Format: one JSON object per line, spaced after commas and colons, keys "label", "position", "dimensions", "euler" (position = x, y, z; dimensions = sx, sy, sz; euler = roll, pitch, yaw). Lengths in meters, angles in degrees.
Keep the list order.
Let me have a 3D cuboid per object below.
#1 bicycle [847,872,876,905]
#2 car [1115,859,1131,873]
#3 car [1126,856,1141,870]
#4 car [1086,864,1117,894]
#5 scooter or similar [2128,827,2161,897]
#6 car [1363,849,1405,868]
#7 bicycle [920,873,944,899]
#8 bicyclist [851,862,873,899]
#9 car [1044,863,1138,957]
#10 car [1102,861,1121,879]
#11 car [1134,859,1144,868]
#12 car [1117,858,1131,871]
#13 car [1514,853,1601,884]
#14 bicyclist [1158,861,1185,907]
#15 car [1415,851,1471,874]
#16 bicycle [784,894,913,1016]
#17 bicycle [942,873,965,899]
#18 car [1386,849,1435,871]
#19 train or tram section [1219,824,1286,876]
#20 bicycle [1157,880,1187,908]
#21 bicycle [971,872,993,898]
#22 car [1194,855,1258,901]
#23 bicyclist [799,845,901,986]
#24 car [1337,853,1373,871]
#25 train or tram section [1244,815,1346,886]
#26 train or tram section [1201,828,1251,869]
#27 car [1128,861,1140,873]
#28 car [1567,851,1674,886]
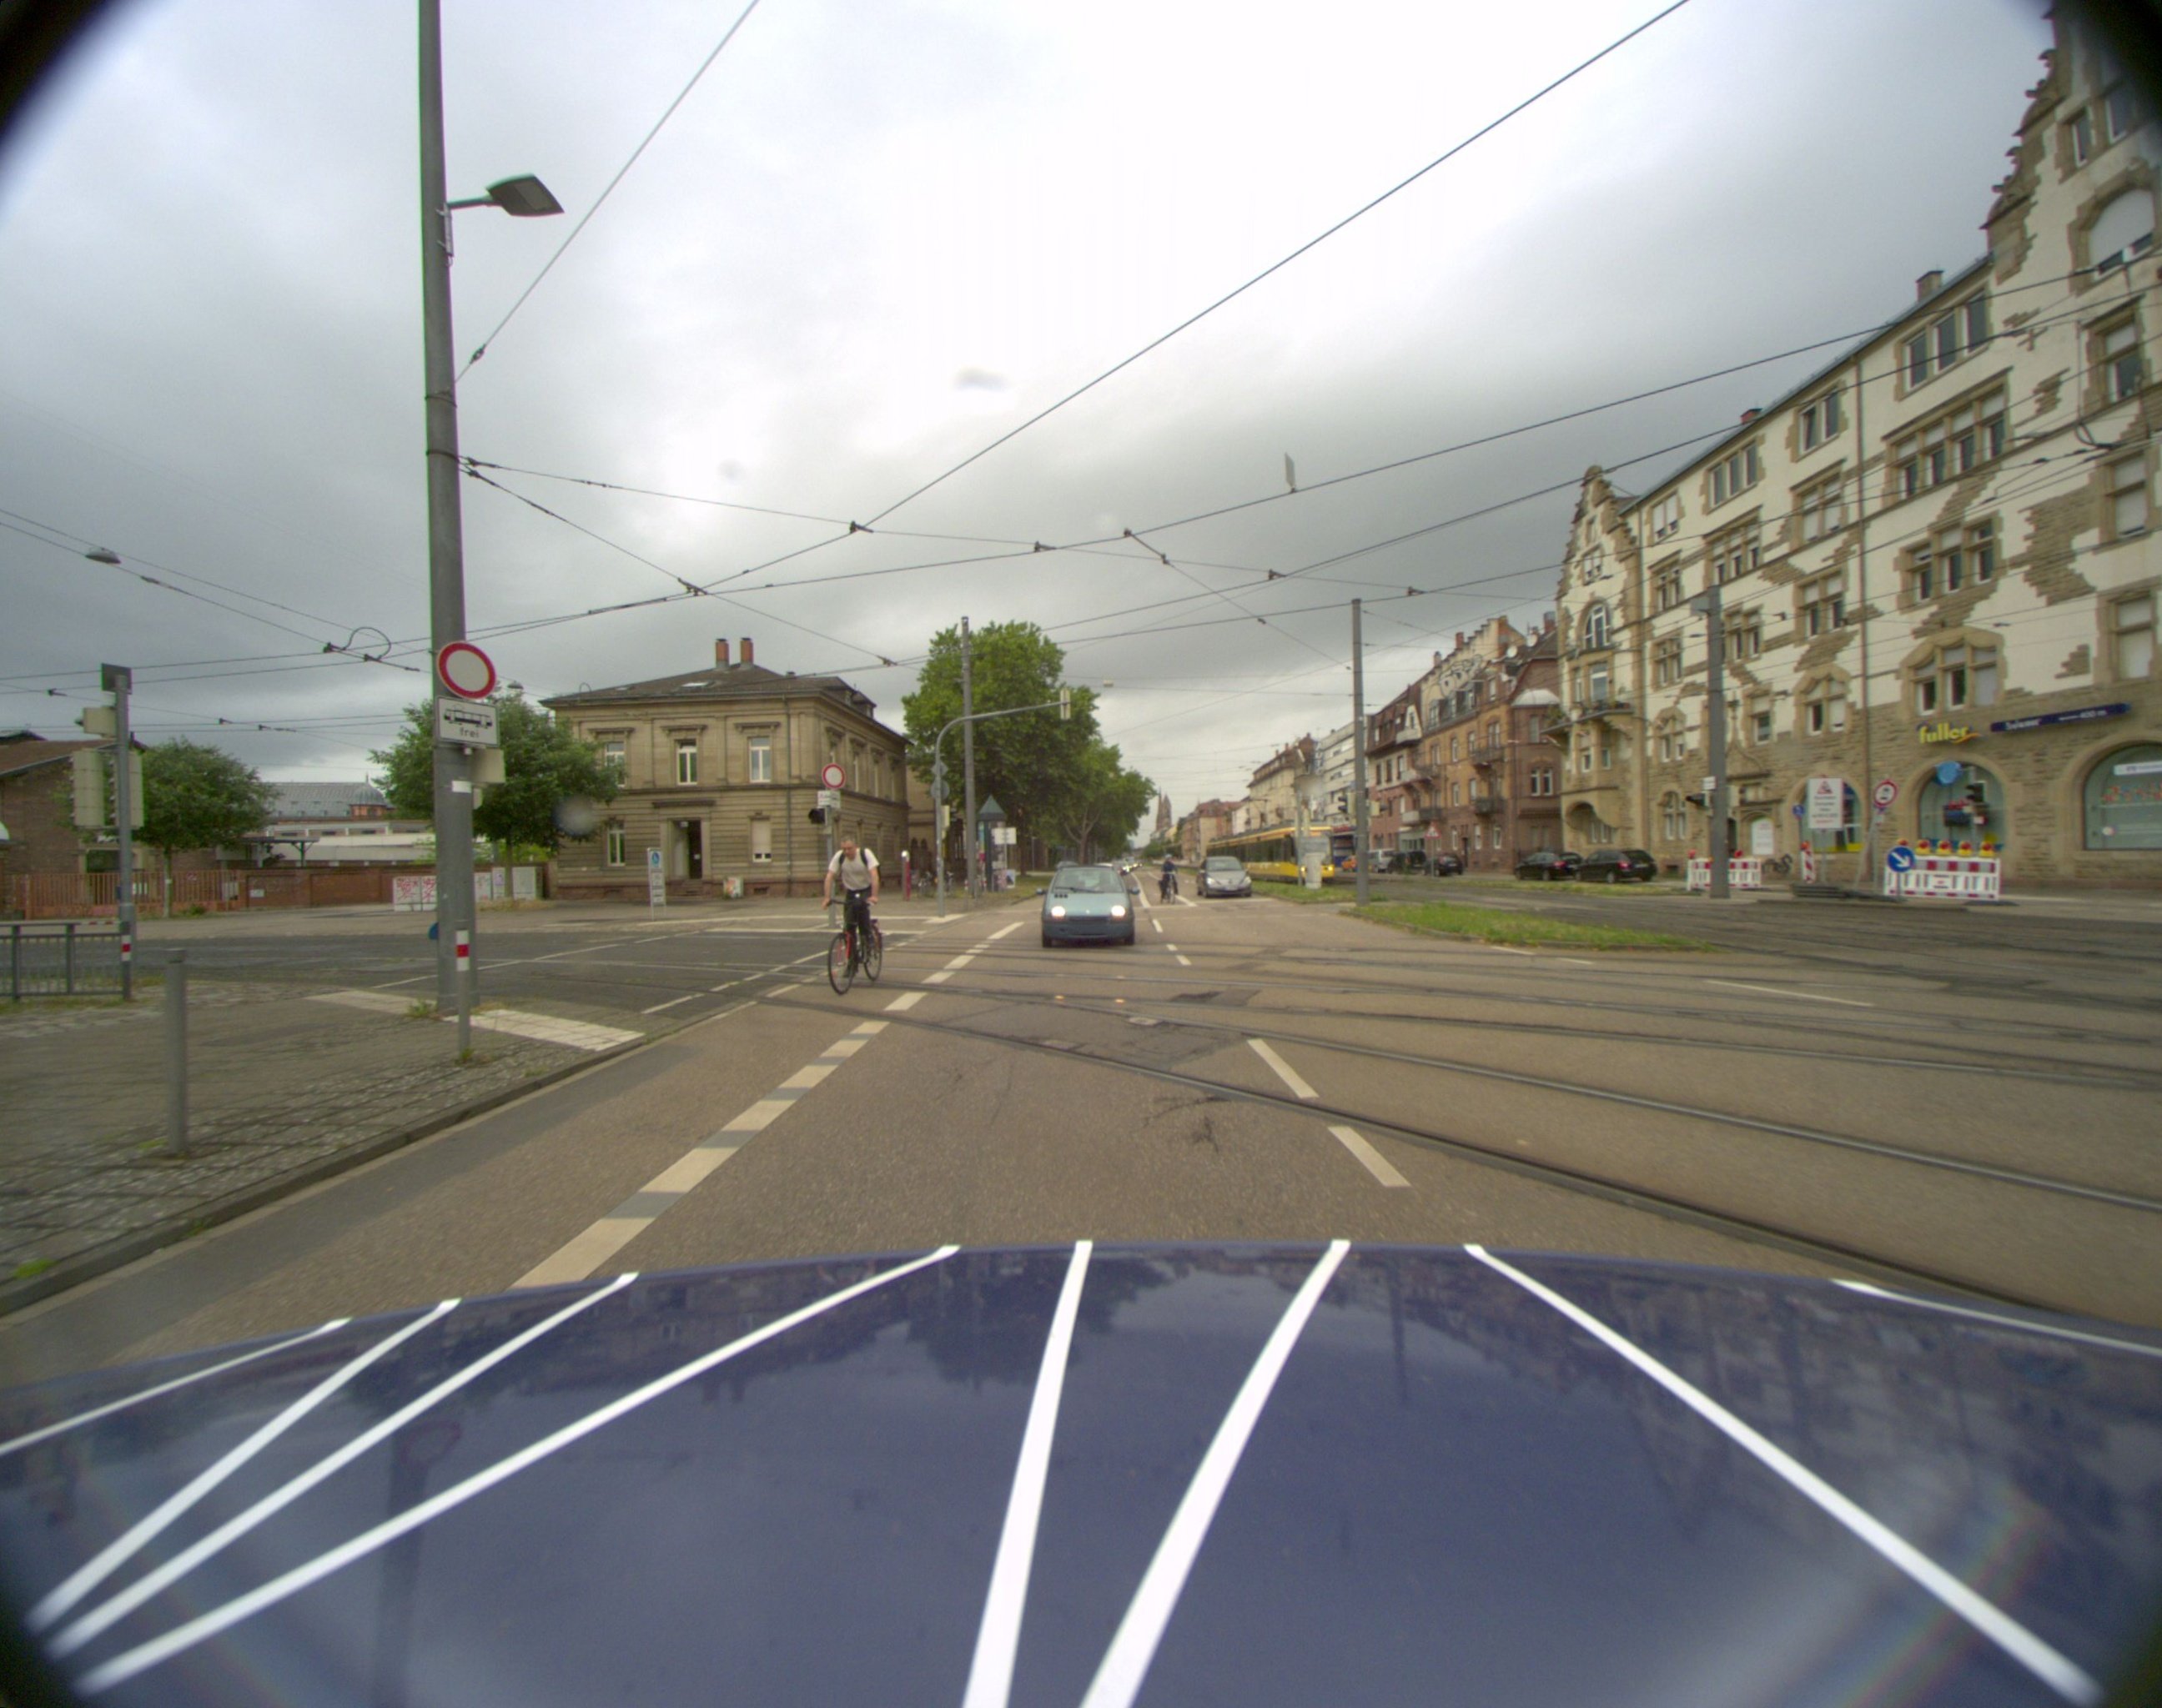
{"label": "bicycle", "position": [-8.547, 1.333, 29.622], "dimensions": [0.677, 1.158, 2.113], "euler": [-1, 1, -6]}
{"label": "car", "position": [4.452, 1.254, 81.007], "dimensions": [1.546, 1.336, 3.797], "euler": [-1, 0, 2]}
{"label": "car", "position": [8.270, 1.430, 120.002], "dimensions": [1.998, 2.002, 4.000], "euler": [-1, 1, 1]}
{"label": "car", "position": [1.178, 1.351, 41.944], "dimensions": [1.534, 1.464, 3.354], "euler": [0, 1, 4]}
{"label": "scooter or similar", "position": [26.749, 0.201, 18.299], "dimensions": [0.565, 1.705, 1.830], "euler": [-1, 1, 1]}
{"label": "car", "position": [25.920, 0.372, 65.127], "dimensions": [1.998, 1.587, 3.999], "euler": [-1, 1, 0]}
{"label": "bicycle", "position": [-6.749, 1.444, 34.465], "dimensions": [0.718, 1.062, 1.699], "euler": [-1, 1, 1]}
{"label": "bicyclist", "position": [-8.554, 1.026, 29.721], "dimensions": [0.694, 1.392, 0.816], "euler": [-1, 1, -7]}
{"label": "car", "position": [0.281, 0.947, 14.183], "dimensions": [1.534, 1.464, 3.354], "euler": [0, 1, 4]}
{"label": "car", "position": [2.737, 1.373, 67.074], "dimensions": [1.534, 1.464, 3.354], "euler": [0, 1, 4]}
{"label": "car", "position": [13.995, 2.253, 183.906], "dimensions": [1.998, 2.002, 4.000], "euler": [-1, 1, 1]}
{"label": "car", "position": [5.015, 1.186, 87.936], "dimensions": [1.534, 1.464, 3.354], "euler": [0, 1, 4]}
{"label": "car", "position": [24.562, 0.700, 39.362], "dimensions": [1.998, 1.434, 3.999], "euler": [-1, 1, 0]}
{"label": "bicyclist", "position": [3.183, 1.049, 26.827], "dimensions": [0.811, 1.586, 0.891], "euler": [-1, -1, 1]}
{"label": "car", "position": [25.015, 0.565, 52.650], "dimensions": [1.998, 1.434, 3.999], "euler": [-1, 1, 0]}
{"label": "bicycle", "position": [-2.758, 1.150, 9.334], "dimensions": [0.814, 1.163, 2.277], "euler": [-1, 1, 1]}
{"label": "bicycle", "position": [-5.770, 1.449, 34.420], "dimensions": [0.718, 1.062, 1.699], "euler": [-1, 1, 1]}
{"label": "car", "position": [25.315, 0.436, 58.560], "dimensions": [1.998, 1.587, 3.999], "euler": [-1, 1, 0]}
{"label": "train or tram section", "position": [12.630, -0.346, 57.410], "dimensions": [2.651, 3.417, 13.621], "euler": [-1, 0, 3]}
{"label": "bicycle", "position": [3.201, 1.397, 26.902], "dimensions": [0.811, 0.939, 2.147], "euler": [-1, -2, 1]}
{"label": "bicycle", "position": [-4.455, 1.396, 34.287], "dimensions": [0.718, 1.062, 1.699], "euler": [-1, 1, 1]}
{"label": "car", "position": [5.703, 0.892, 30.296], "dimensions": [1.868, 1.630, 3.775], "euler": [-1, 1, 1]}
{"label": "bicyclist", "position": [-2.764, 0.697, 9.228], "dimensions": [0.812, 1.591, 1.190], "euler": [-1, 1, 1]}
{"label": "car", "position": [25.906, 0.756, 71.975], "dimensions": [1.998, 1.587, 3.999], "euler": [-1, 1, 0]}
{"label": "train or tram section", "position": [11.892, -0.230, 43.840], "dimensions": [2.651, 3.417, 13.621], "euler": [-1, 0, 3]}
{"label": "train or tram section", "position": [13.328, -0.502, 71.023], "dimensions": [2.651, 3.417, 13.621], "euler": [-1, 0, 3]}
{"label": "car", "position": [9.540, 2.333, 137.184], "dimensions": [1.998, 2.002, 4.000], "euler": [-1, 1, 1]}
{"label": "car", "position": [24.309, 0.602, 34.442], "dimensions": [1.998, 1.434, 3.999], "euler": [-1, 1, 0]}
